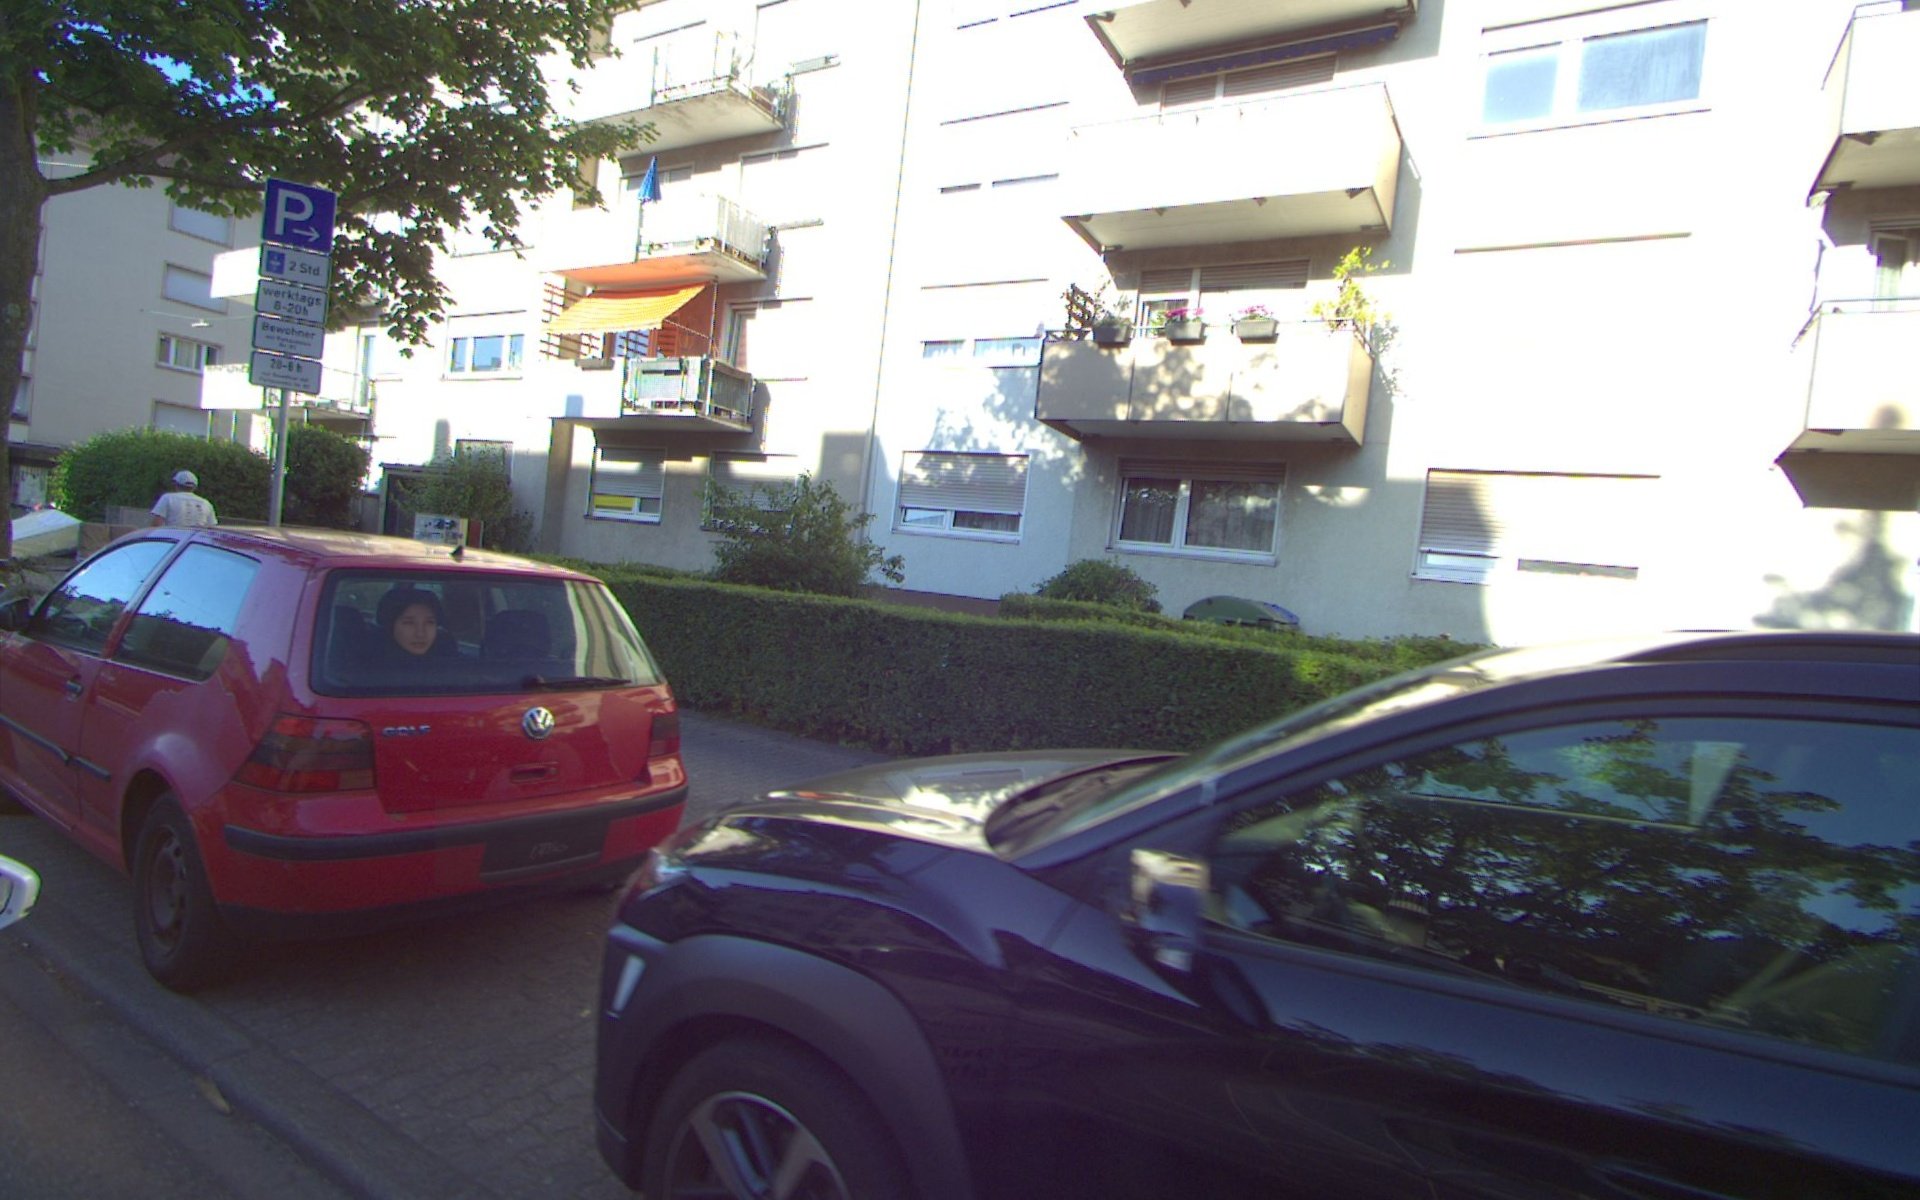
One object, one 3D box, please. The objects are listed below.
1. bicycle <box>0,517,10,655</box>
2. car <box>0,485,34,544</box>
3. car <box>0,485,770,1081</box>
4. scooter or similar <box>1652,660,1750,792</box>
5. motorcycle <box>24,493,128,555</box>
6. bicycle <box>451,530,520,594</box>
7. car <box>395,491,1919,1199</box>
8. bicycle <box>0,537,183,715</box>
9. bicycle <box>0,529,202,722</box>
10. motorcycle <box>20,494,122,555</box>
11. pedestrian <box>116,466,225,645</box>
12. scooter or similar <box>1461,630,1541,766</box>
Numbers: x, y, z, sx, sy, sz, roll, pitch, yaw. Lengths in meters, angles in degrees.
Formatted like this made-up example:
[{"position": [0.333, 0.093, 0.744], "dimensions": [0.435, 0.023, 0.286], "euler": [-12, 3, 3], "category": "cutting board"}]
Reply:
[{"position": [-8.503, -0.148, 7.730], "dimensions": [0.509, 1.123, 1.684], "euler": [7, 3, 37], "category": "bicycle"}, {"position": [-28.054, -2.565, 27.259], "dimensions": [1.776, 1.571, 3.990], "euler": [7, 1, 31], "category": "car"}, {"position": [-2.913, 0.366, 4.405], "dimensions": [3.948, 1.469, 1.703], "euler": [7, 2, 34], "category": "car"}, {"position": [7.951, 1.324, 10.822], "dimensions": [0.657, 1.289, 0.615], "euler": [7, 2, 31], "category": "scooter or similar"}, {"position": [-23.517, -1.998, 26.801], "dimensions": [0.683, 1.379, 1.913], "euler": [7, 1, 36], "category": "motorcycle"}, {"position": [-10.194, -0.823, 21.580], "dimensions": [1.767, 1.198, 0.356], "euler": [7, 2, 32], "category": "bicycle"}, {"position": [0.986, 0.787, 1.938], "dimensions": [3.946, 1.603, 1.856], "euler": [7, 2, 31], "category": "car"}, {"position": [-6.212, 0.163, 6.644], "dimensions": [0.493, 1.118, 1.571], "euler": [7, 1, 32], "category": "bicycle"}, {"position": [-5.673, 0.151, 6.141], "dimensions": [0.385, 1.118, 1.571], "euler": [7, 1, 32], "category": "bicycle"}, {"position": [-24.187, -2.038, 27.388], "dimensions": [0.683, 1.379, 1.913], "euler": [7, 1, 36], "category": "motorcycle"}, {"position": [-8.206, -0.456, 10.460], "dimensions": [0.760, 1.773, 0.661], "euler": [7, 3, 37], "category": "pedestrian"}, {"position": [6.322, 1.124, 11.748], "dimensions": [0.657, 1.460, 0.615], "euler": [7, 2, 31], "category": "scooter or similar"}]
